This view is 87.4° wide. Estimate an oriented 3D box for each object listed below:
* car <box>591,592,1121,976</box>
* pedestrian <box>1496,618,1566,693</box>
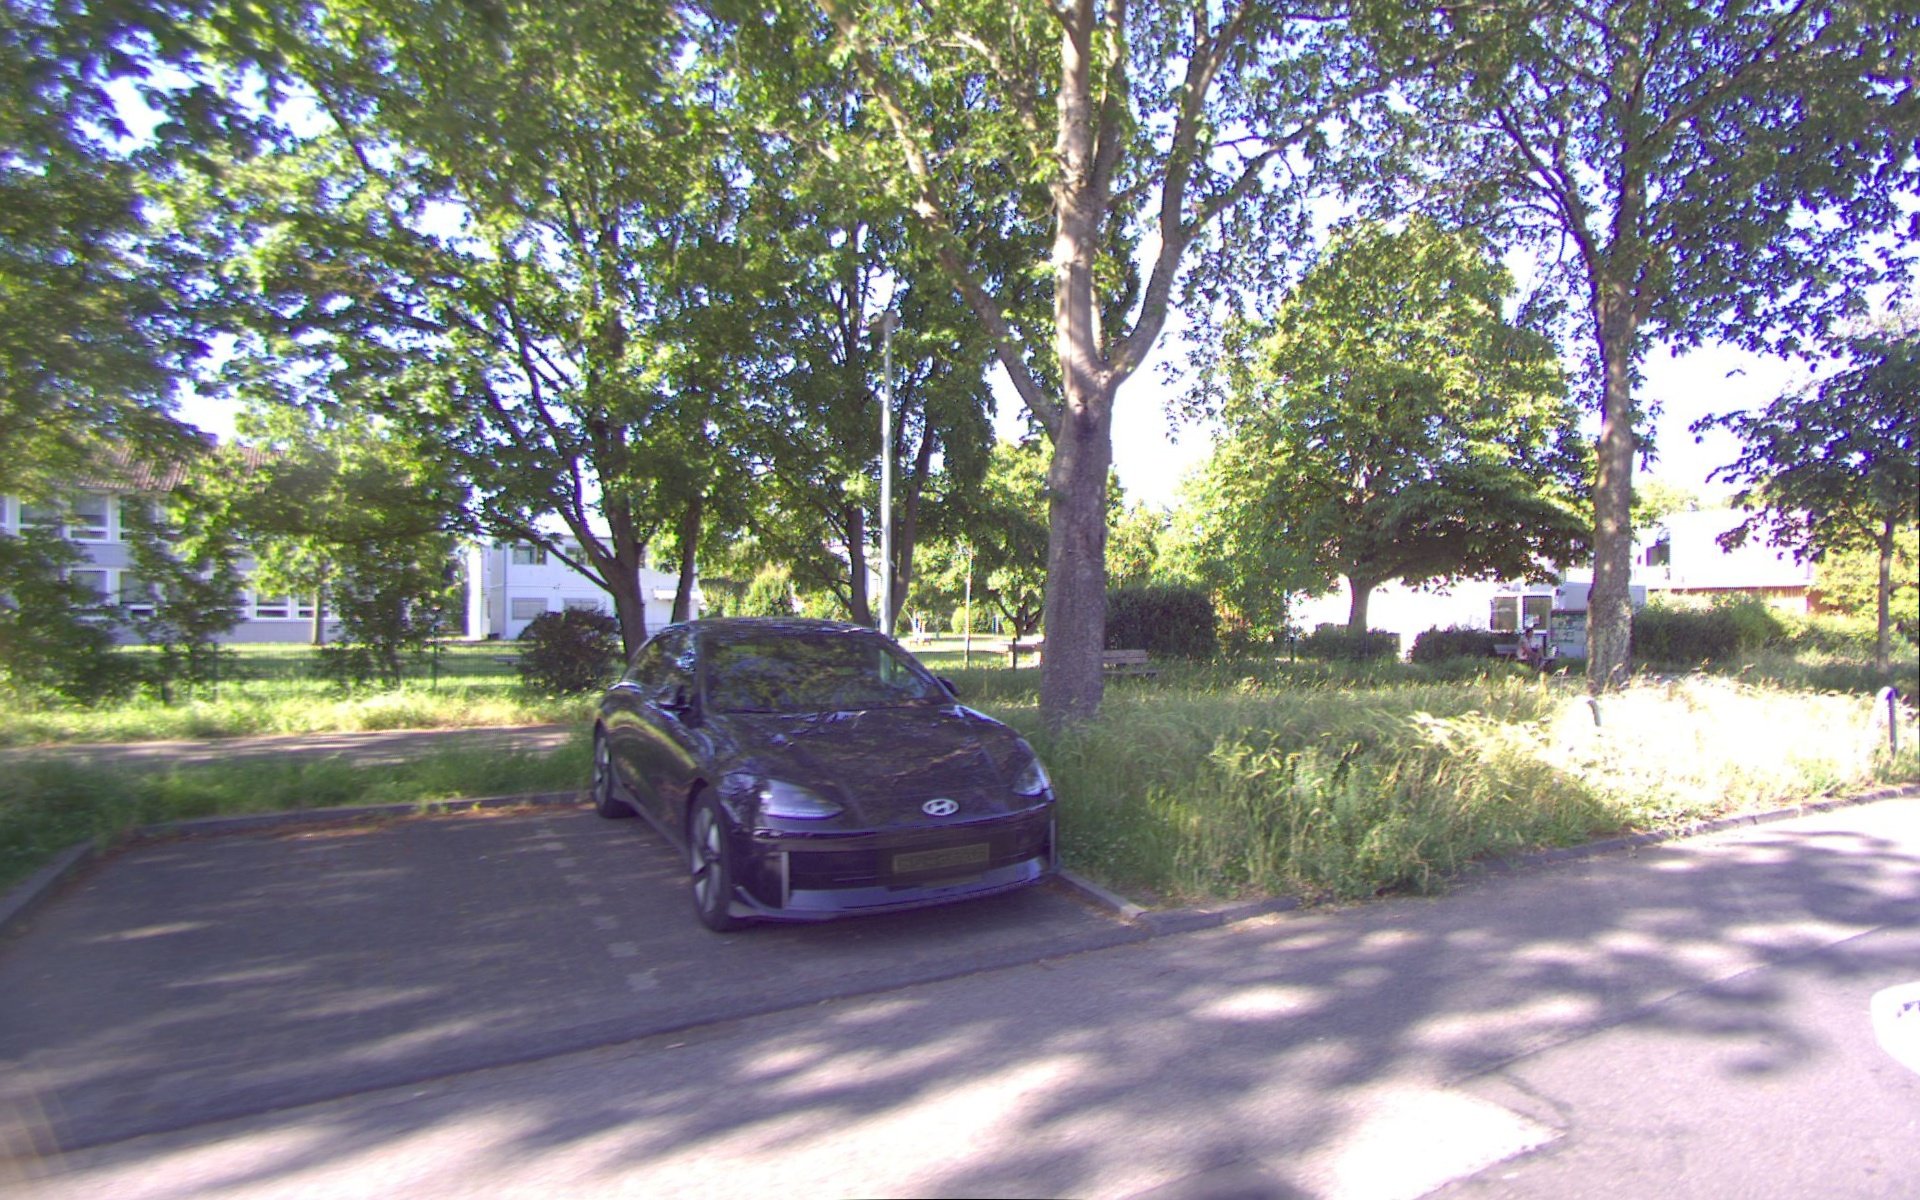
[{"bbox_3d":[-1.053,0.774,6.511,1.786,1.551,4.346,2,0,-30],"label":"car"},{"bbox_3d":[15.017,1.434,26.423,1.212,1.851,1.542,2,0,44],"label":"pedestrian"}]
